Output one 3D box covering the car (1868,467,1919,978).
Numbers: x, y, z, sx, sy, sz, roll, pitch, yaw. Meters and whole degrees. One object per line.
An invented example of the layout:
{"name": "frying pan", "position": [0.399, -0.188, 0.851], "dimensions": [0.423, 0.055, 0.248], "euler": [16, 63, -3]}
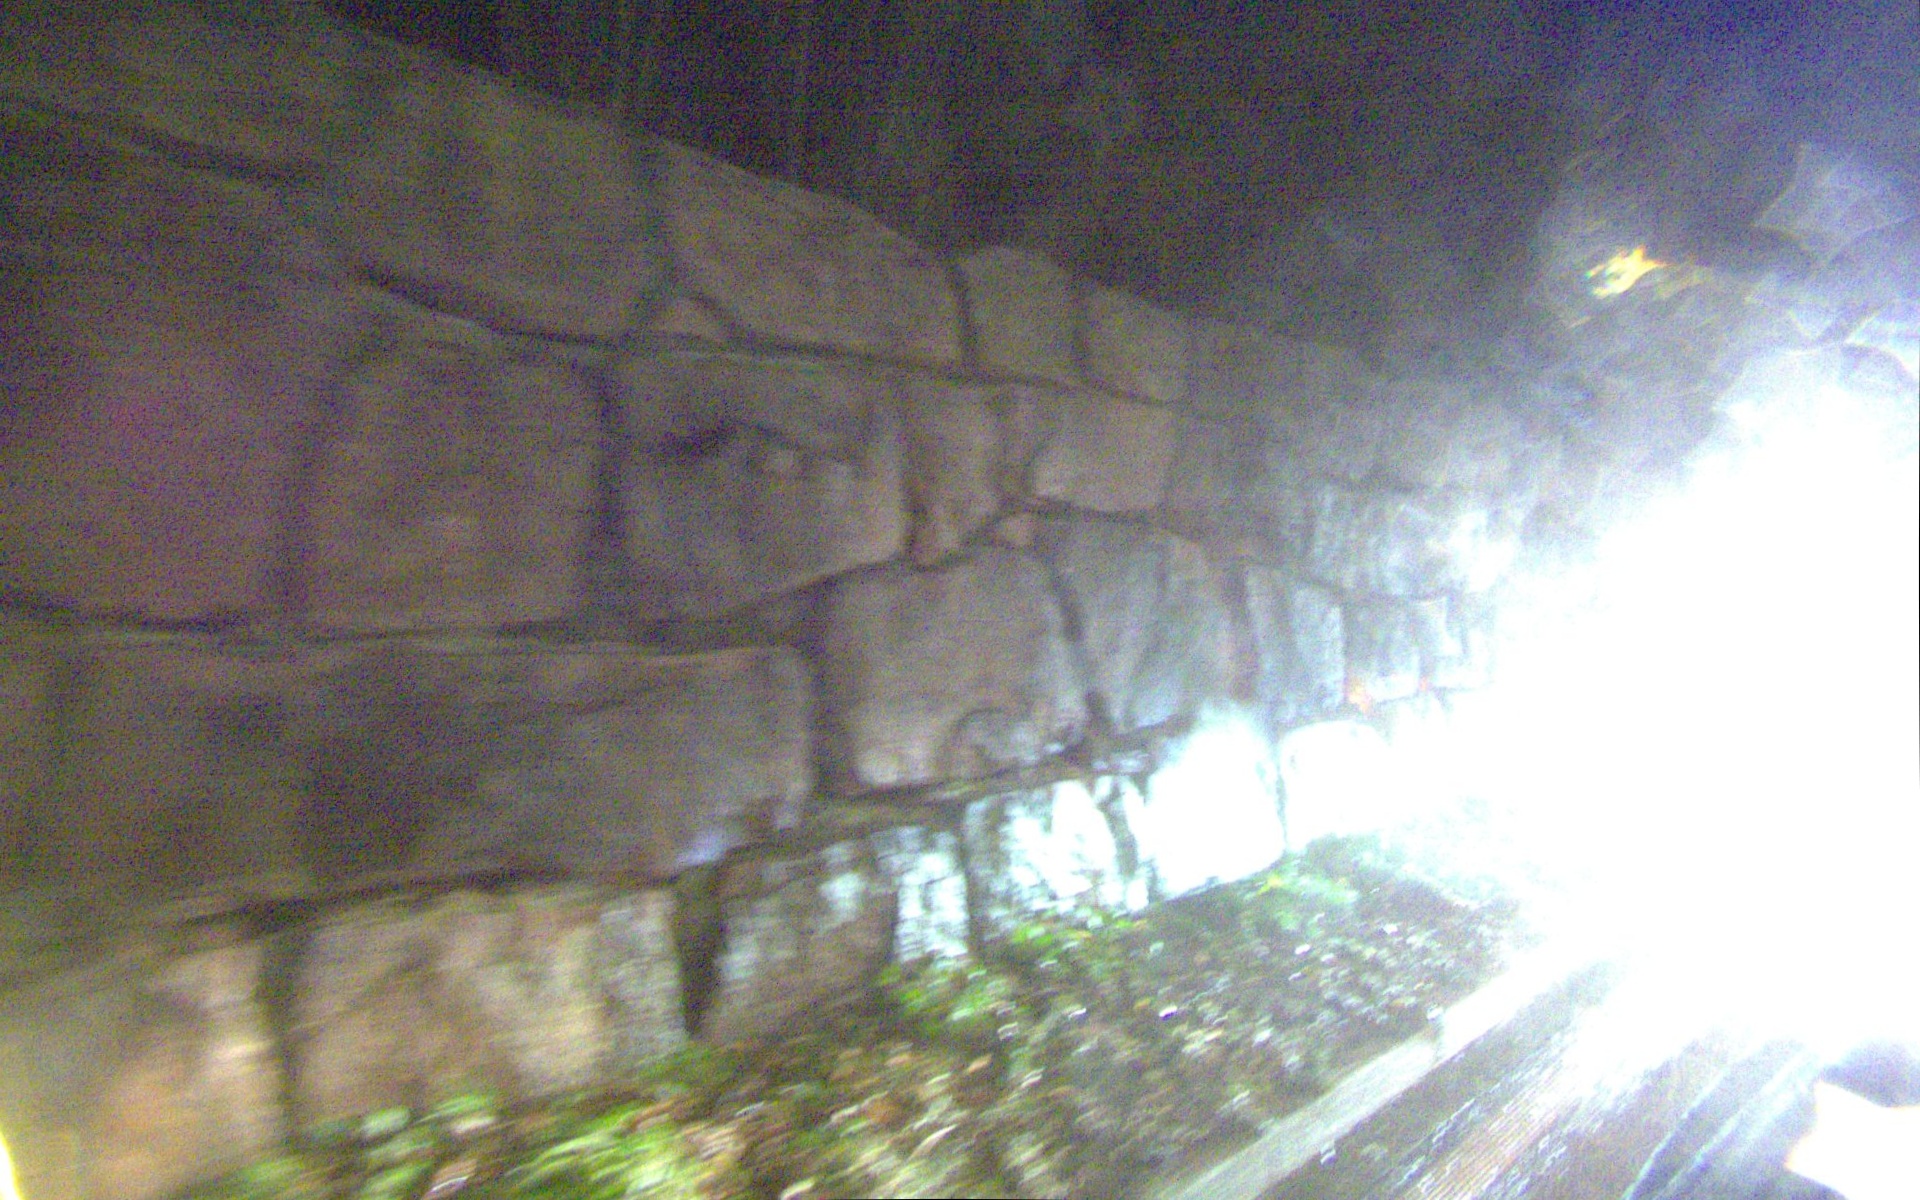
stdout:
{"name": "car", "position": [5.602, 0.431, 4.313], "dimensions": [4.129, 1.858, 1.878], "euler": [-1, 2, -38]}
